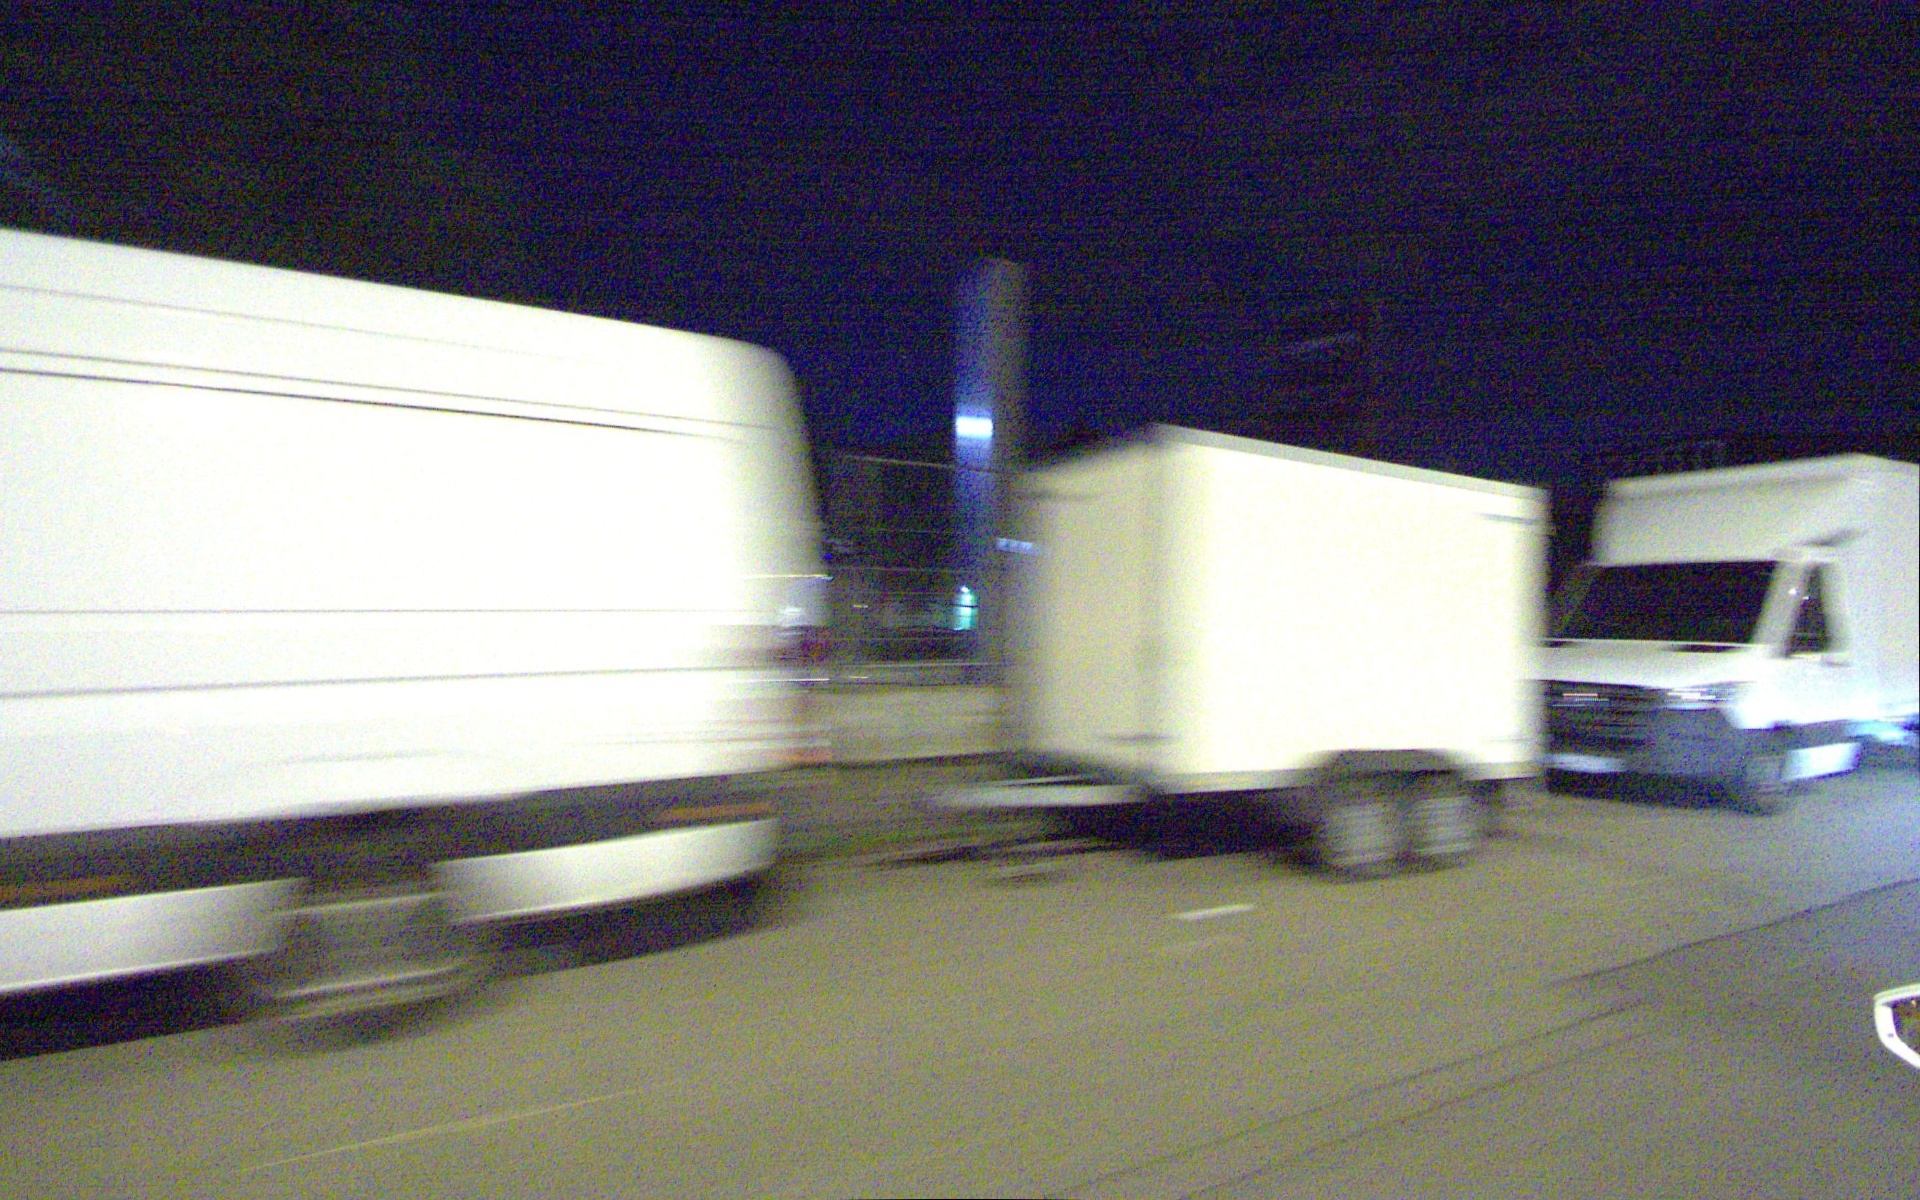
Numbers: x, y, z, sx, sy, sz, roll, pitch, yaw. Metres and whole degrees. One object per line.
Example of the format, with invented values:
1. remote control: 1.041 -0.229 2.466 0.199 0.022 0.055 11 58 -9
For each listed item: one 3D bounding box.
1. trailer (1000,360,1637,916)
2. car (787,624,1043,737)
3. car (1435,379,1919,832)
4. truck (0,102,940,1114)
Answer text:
1. trailer: 2.481 0.256 6.885 3.950 2.802 1.989 2 -2 -28
2. car: -0.775 1.285 16.412 3.927 1.661 1.861 2 -1 -8
3. car: 8.141 0.133 10.108 7.145 3.286 2.371 2 0 -30
4. truck: -3.695 0.006 3.358 7.157 2.821 1.984 2 0 -30
